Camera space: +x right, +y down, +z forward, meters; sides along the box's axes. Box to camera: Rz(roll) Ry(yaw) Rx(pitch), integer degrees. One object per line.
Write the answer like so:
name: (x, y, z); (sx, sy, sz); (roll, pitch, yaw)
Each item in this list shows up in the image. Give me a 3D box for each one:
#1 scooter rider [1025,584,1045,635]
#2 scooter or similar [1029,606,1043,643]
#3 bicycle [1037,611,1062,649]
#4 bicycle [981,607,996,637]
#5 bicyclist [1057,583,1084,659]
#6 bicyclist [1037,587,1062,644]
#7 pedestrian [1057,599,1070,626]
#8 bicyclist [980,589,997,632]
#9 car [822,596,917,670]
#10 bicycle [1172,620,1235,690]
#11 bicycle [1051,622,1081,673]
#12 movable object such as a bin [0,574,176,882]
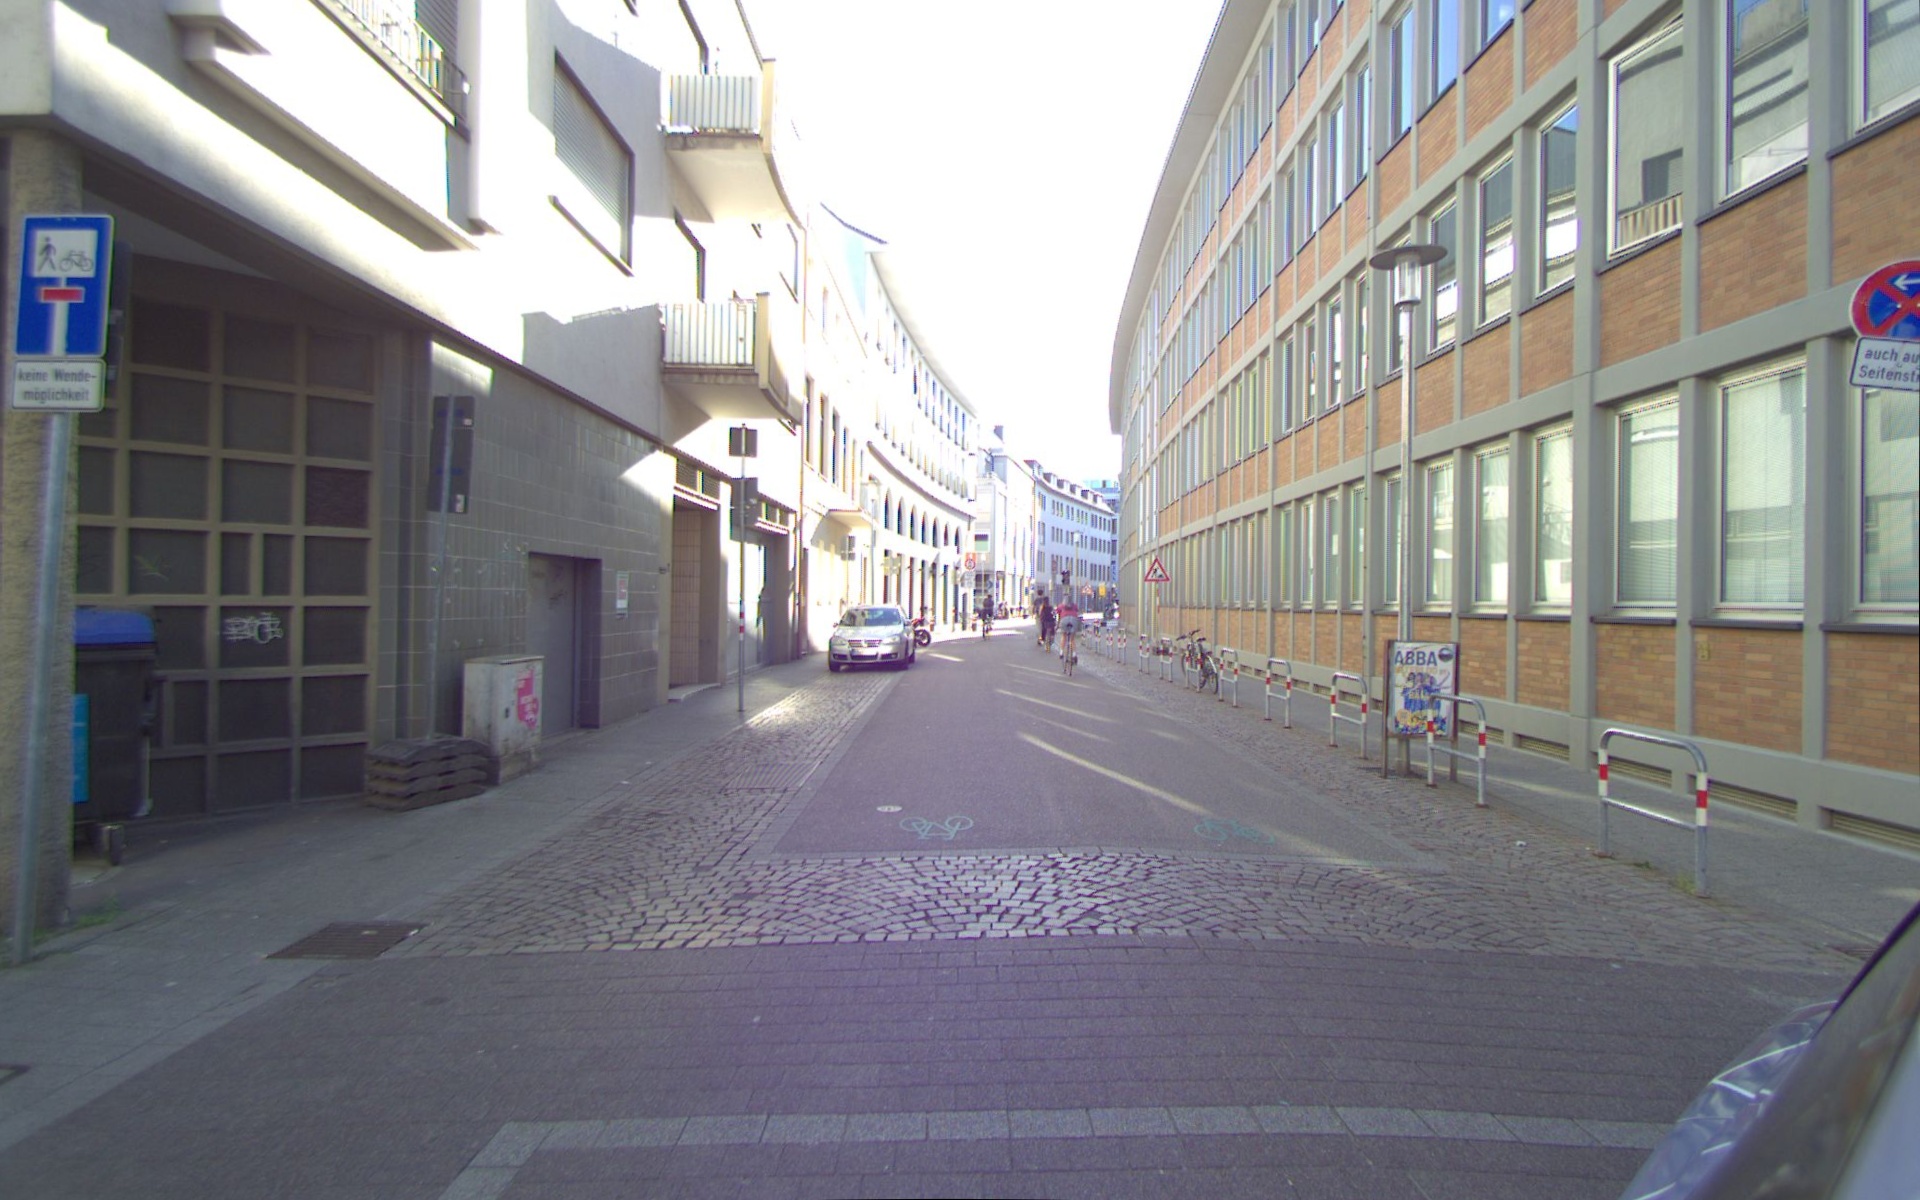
scooter rider: (2.592, 0.326, 35.000); (0.637, 1.748, 0.702); (1, 1, 0)
scooter or similar: (2.617, 0.838, 34.983); (0.331, 1.200, 1.279); (3, 1, 1)
bicycle: (2.735, 0.897, 31.055); (0.580, 1.065, 1.801); (2, 0, 0)
bicycle: (1.073, 0.809, 37.841); (0.563, 1.064, 1.835); (0, 0, 2)
bicyclist: (2.282, 0.419, 20.991); (0.420, 1.517, 0.875); (2, 0, 1)
bicyclist: (2.750, 0.462, 31.083); (0.608, 1.687, 0.823); (3, 0, 0)
pedestrian: (5.730, 0.683, 55.977); (0.647, 1.459, 0.595); (0, 0, 3)
bicyclist: (1.070, 0.380, 37.898); (0.637, 1.578, 1.109); (0, 0, 2)
car: (-1.962, 0.680, 23.042); (1.738, 1.489, 3.812); (-1, 0, 1)
bicycle: (4.299, 0.942, 17.973); (0.626, 1.130, 1.931); (0, 0, 0)
bicycle: (2.183, 0.958, 20.918); (0.428, 0.969, 1.591); (2, 0, 0)
movable object such as a bin: (-5.384, 0.666, 5.808); (1.270, 1.609, 1.152); (1, 1, -44)
